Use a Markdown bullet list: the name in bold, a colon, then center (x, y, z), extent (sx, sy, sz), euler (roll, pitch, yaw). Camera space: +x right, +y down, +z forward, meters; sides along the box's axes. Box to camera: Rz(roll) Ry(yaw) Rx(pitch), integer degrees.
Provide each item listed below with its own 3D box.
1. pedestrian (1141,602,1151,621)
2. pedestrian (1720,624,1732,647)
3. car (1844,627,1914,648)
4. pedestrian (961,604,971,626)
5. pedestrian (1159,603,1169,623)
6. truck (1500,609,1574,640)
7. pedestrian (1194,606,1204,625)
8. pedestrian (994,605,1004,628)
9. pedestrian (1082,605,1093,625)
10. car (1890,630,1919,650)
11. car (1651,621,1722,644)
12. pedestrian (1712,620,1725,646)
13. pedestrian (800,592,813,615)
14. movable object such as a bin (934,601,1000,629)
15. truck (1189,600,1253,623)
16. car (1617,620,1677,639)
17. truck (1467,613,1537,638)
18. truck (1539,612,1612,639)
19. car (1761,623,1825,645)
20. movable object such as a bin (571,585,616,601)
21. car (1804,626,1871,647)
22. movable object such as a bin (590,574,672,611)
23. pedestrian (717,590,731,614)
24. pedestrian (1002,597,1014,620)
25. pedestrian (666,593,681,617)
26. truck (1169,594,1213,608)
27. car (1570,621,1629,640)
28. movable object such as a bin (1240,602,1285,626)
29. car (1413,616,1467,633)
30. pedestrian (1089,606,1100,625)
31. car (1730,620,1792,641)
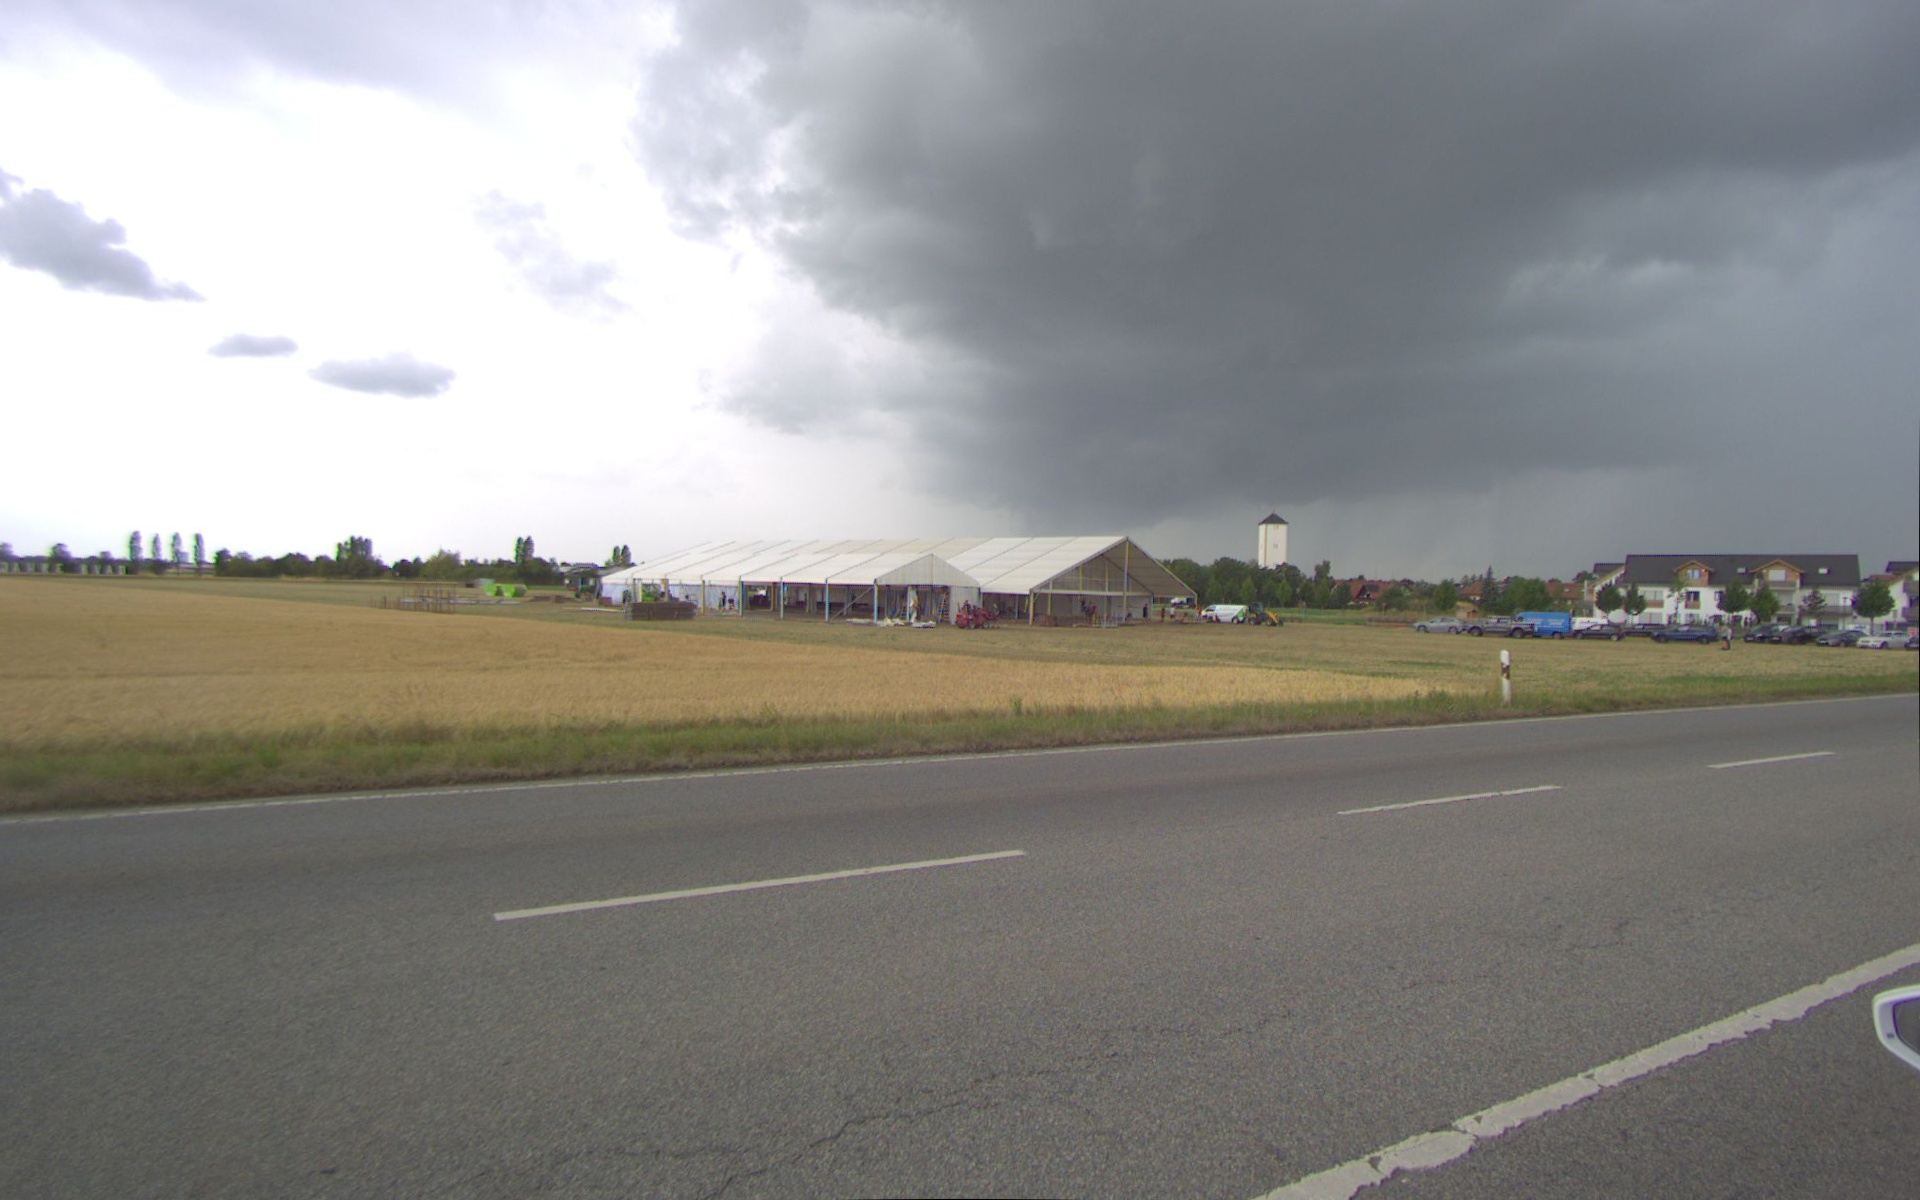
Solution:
- **pedestrian**: center (17.743, 1.118, 95.805), extent (0.683, 1.799, 0.688), euler (1, 0, -33)
- **pedestrian**: center (54.583, 2.528, 71.593), extent (0.582, 1.576, 0.623), euler (1, 0, 41)
- **car**: center (71.580, 2.922, 78.264), extent (4.138, 1.465, 1.995), euler (1, 0, -12)
- **pedestrian**: center (0.458, 1.128, 75.379), extent (0.463, 1.649, 0.581), euler (1, 0, 41)
- **pedestrian**: center (19.985, 1.281, 98.498), extent (0.703, 1.890, 0.619), euler (1, 0, -39)
- **truck**: center (50.498, 2.102, 87.937), extent (5.379, 2.478, 2.385), euler (1, 0, 38)
- **pedestrian**: center (23.844, 1.549, 100.022), extent (0.680, 1.799, 0.691), euler (2, 0, 41)
- **pedestrian**: center (2.808, 1.216, 72.486), extent (0.537, 1.649, 0.550), euler (1, 0, 31)
- **pedestrian**: center (12.084, 1.405, 94.959), extent (0.721, 1.803, 0.756), euler (2, 0, 40)
- **car**: center (72.727, 3.027, 75.561), extent (4.138, 1.465, 1.995), euler (1, 0, -12)
- **car**: center (60.707, 2.721, 83.951), extent (4.660, 1.719, 1.991), euler (1, 0, 40)
- **pedestrian**: center (53.641, 2.358, 71.035), extent (0.673, 1.809, 0.543), euler (1, 0, -42)
- **pedestrian**: center (-14.317, 0.307, 93.735), extent (0.929, 2.130, 0.861), euler (1, 0, -29)
- **movable object such as a bin**: center (0.543, 1.097, 71.940), extent (2.556, 1.889, 4.457), euler (1, 0, 37)
- **truck**: center (27.537, 1.252, 106.017), extent (5.960, 2.246, 2.713), euler (1, 0, 33)
- **car**: center (66.407, 2.835, 97.108), extent (4.571, 1.719, 1.991), euler (1, 0, 40)
- **truck**: center (46.621, 2.184, 86.436), extent (5.155, 1.946, 2.106), euler (1, 0, 34)
- **truck**: center (56.589, 2.345, 92.342), extent (5.494, 2.226, 2.597), euler (1, 0, 38)
- **car**: center (69.568, 2.834, 83.879), extent (4.138, 1.650, 1.995), euler (1, 0, -12)
- **movable object such as a bin**: center (-51.609, -0.972, 141.382), extent (2.529, 2.040, 5.386), euler (2, 0, 41)
- **car**: center (70.661, 2.930, 80.891), extent (4.138, 1.556, 1.995), euler (1, 0, -12)
- **movable object such as a bin**: center (-31.644, -0.737, 96.557), extent (7.467, 3.219, 4.140), euler (2, 1, 40)
- **pedestrian**: center (-20.062, 0.182, 85.327), extent (1.005, 2.040, 0.806), euler (2, 0, -3)
- **pedestrian**: center (4.439, 0.778, 93.026), extent (0.754, 2.040, 0.876), euler (2, 0, 27)
- **pedestrian**: center (-25.095, 0.429, 87.981), extent (1.010, 2.040, 0.802), euler (2, 0, 41)
- **truck**: center (47.274, 0.182, 205.909), extent (3.264, 2.563, 9.292), euler (1, 0, -32)
- **car**: center (55.892, 2.655, 87.848), extent (4.106, 1.539, 1.991), euler (1, 0, 40)
- **movable object such as a bin**: center (30.131, 1.362, 99.993), extent (3.929, 2.273, 1.881), euler (1, 0, 33)
- **car**: center (44.450, 2.245, 92.983), extent (4.236, 1.481, 1.886), euler (1, 0, 34)
- **pedestrian**: center (12.605, 1.426, 94.164), extent (0.646, 1.767, 0.724), euler (2, 0, 40)
- **car**: center (69.964, 2.648, 87.756), extent (4.138, 1.650, 1.995), euler (1, 0, -12)
